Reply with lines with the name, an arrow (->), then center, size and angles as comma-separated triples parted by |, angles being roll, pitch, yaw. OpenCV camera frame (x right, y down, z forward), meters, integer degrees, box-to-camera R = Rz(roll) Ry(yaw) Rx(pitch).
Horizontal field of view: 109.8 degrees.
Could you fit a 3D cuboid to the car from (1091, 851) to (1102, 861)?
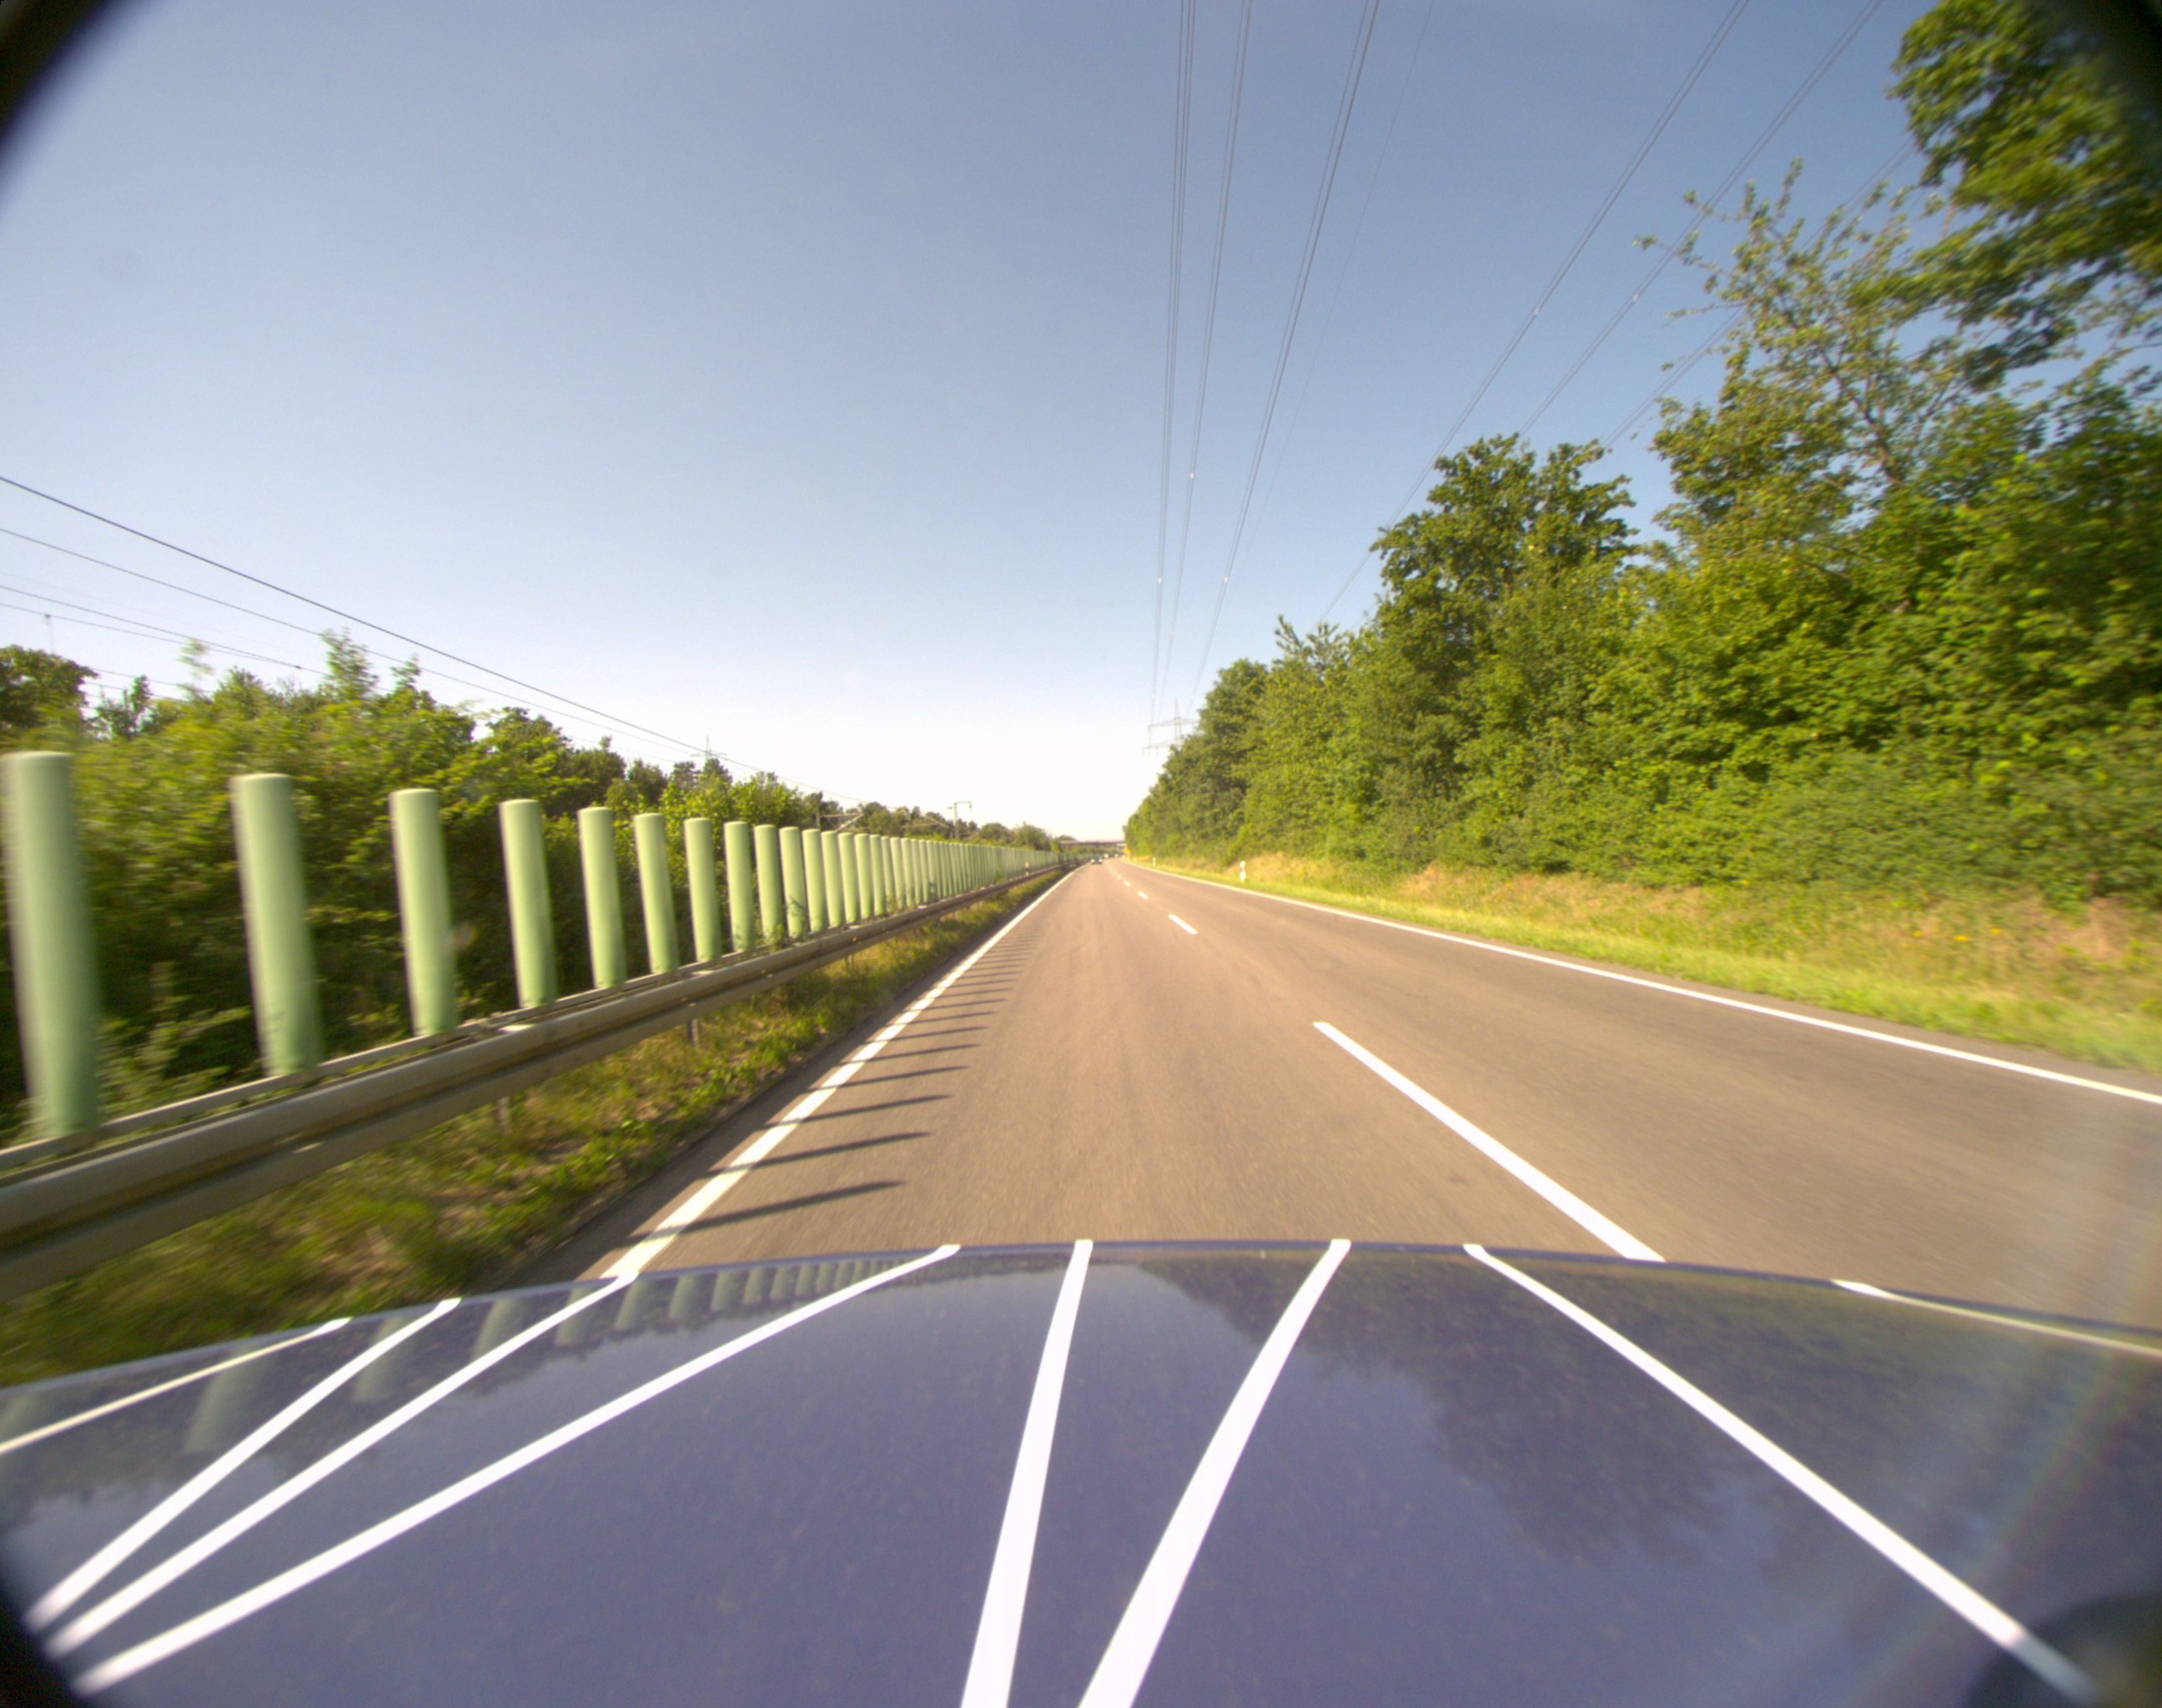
car -> 2.613, 0.304, 128.140 | 1.787, 1.550, 4.000 | -2, 0, 2
